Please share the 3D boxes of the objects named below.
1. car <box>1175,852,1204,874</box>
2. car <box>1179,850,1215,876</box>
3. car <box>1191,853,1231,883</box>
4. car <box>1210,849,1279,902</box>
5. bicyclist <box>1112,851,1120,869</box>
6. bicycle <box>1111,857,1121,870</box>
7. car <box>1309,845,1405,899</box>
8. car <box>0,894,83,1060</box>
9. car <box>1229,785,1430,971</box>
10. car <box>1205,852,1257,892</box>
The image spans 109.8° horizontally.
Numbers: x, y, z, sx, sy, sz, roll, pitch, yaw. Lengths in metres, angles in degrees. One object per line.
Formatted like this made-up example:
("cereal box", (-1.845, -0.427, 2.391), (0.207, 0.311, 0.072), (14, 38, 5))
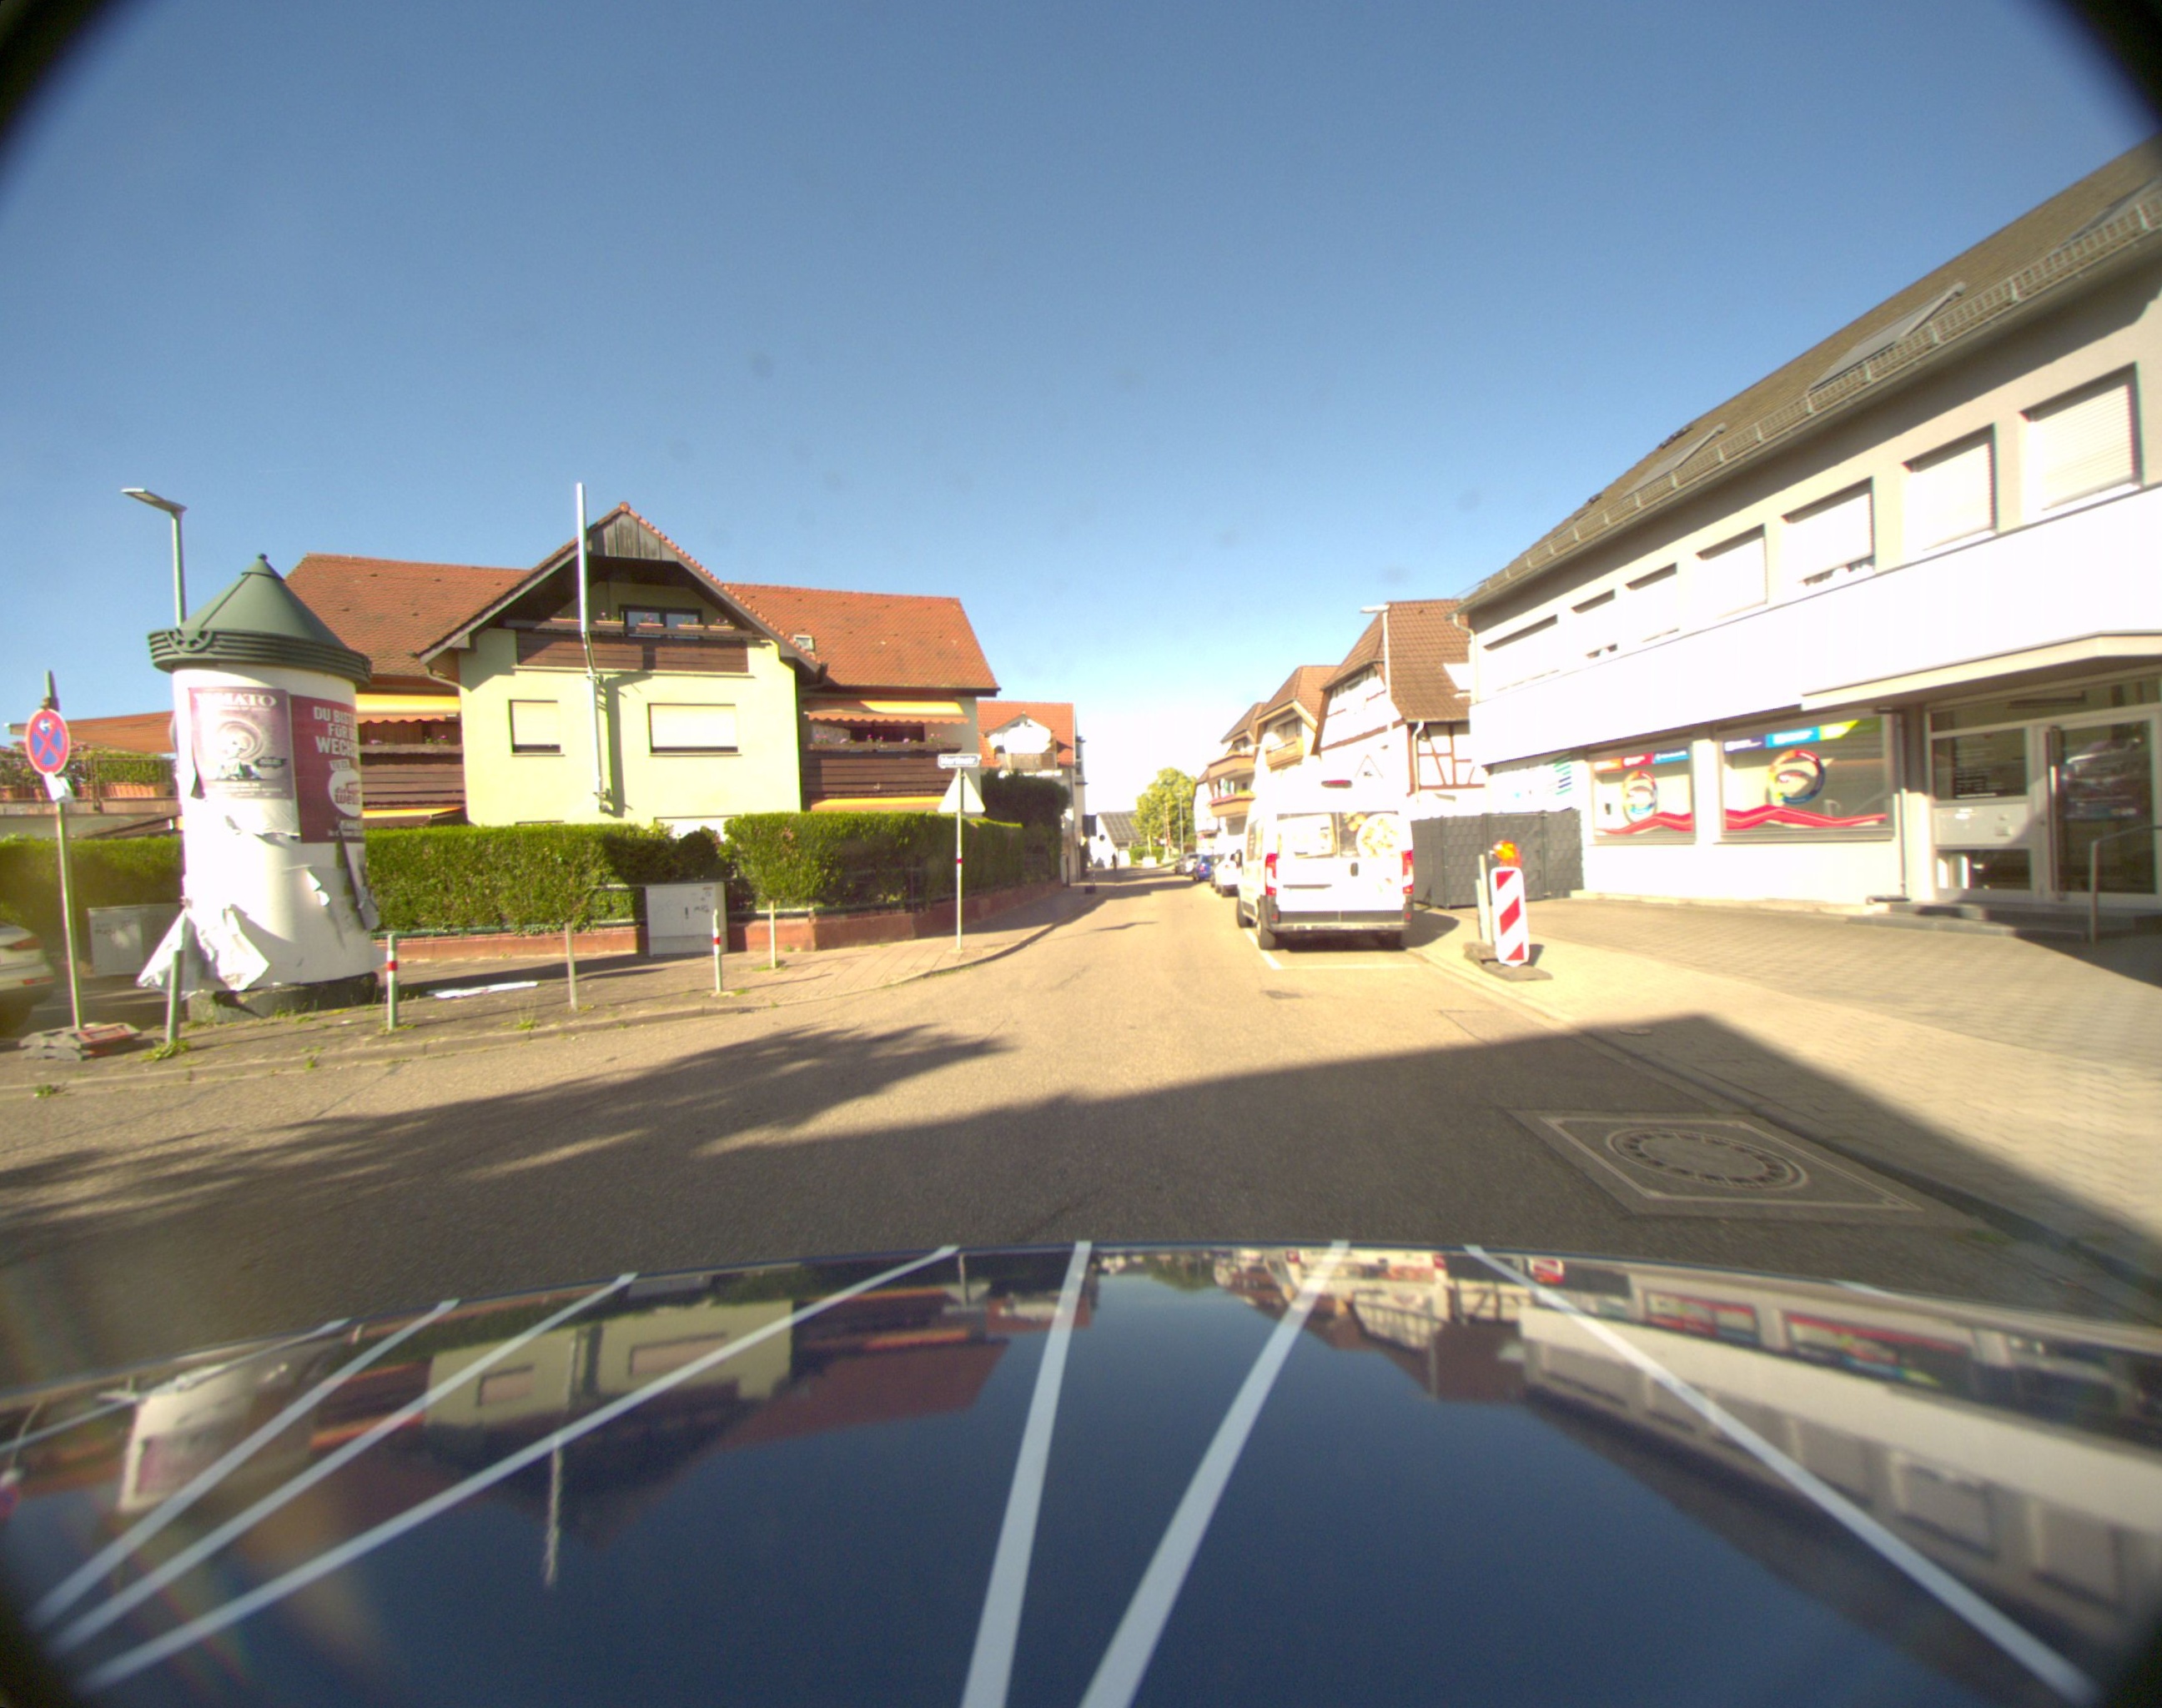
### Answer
("car", (7.738, 0.638, 54.314), (1.627, 1.468, 3.616), (-2, 0, 2))
("car", (7.403, 0.554, 48.745), (1.763, 1.547, 4.000), (-2, 0, 2))
("car", (6.760, 0.685, 39.853), (1.622, 1.431, 3.957), (-2, 0, 4))
("car", (5.498, 0.676, 25.982), (1.726, 1.609, 4.113), (-2, 0, 5))
("bicyclist", (3.278, 0.590, 71.010), (0.643, 1.655, 0.604), (0, 1, -6))
("bicycle", (3.251, 0.922, 71.064), (0.640, 1.175, 2.020), (-2, 0, -6))
("car", (8.977, 0.538, 25.072), (1.646, 1.577, 4.112), (-3, 0, 1))
("car", (-12.694, 1.303, 6.955), (4.303, 1.584, 1.813), (-2, 2, -5))
("car", (3.884, 0.317, 13.046), (2.257, 2.456, 5.519), (-2, 0, 8))
("car", (6.129, 0.706, 31.459), (1.659, 1.498, 3.685), (-2, 0, 5))
